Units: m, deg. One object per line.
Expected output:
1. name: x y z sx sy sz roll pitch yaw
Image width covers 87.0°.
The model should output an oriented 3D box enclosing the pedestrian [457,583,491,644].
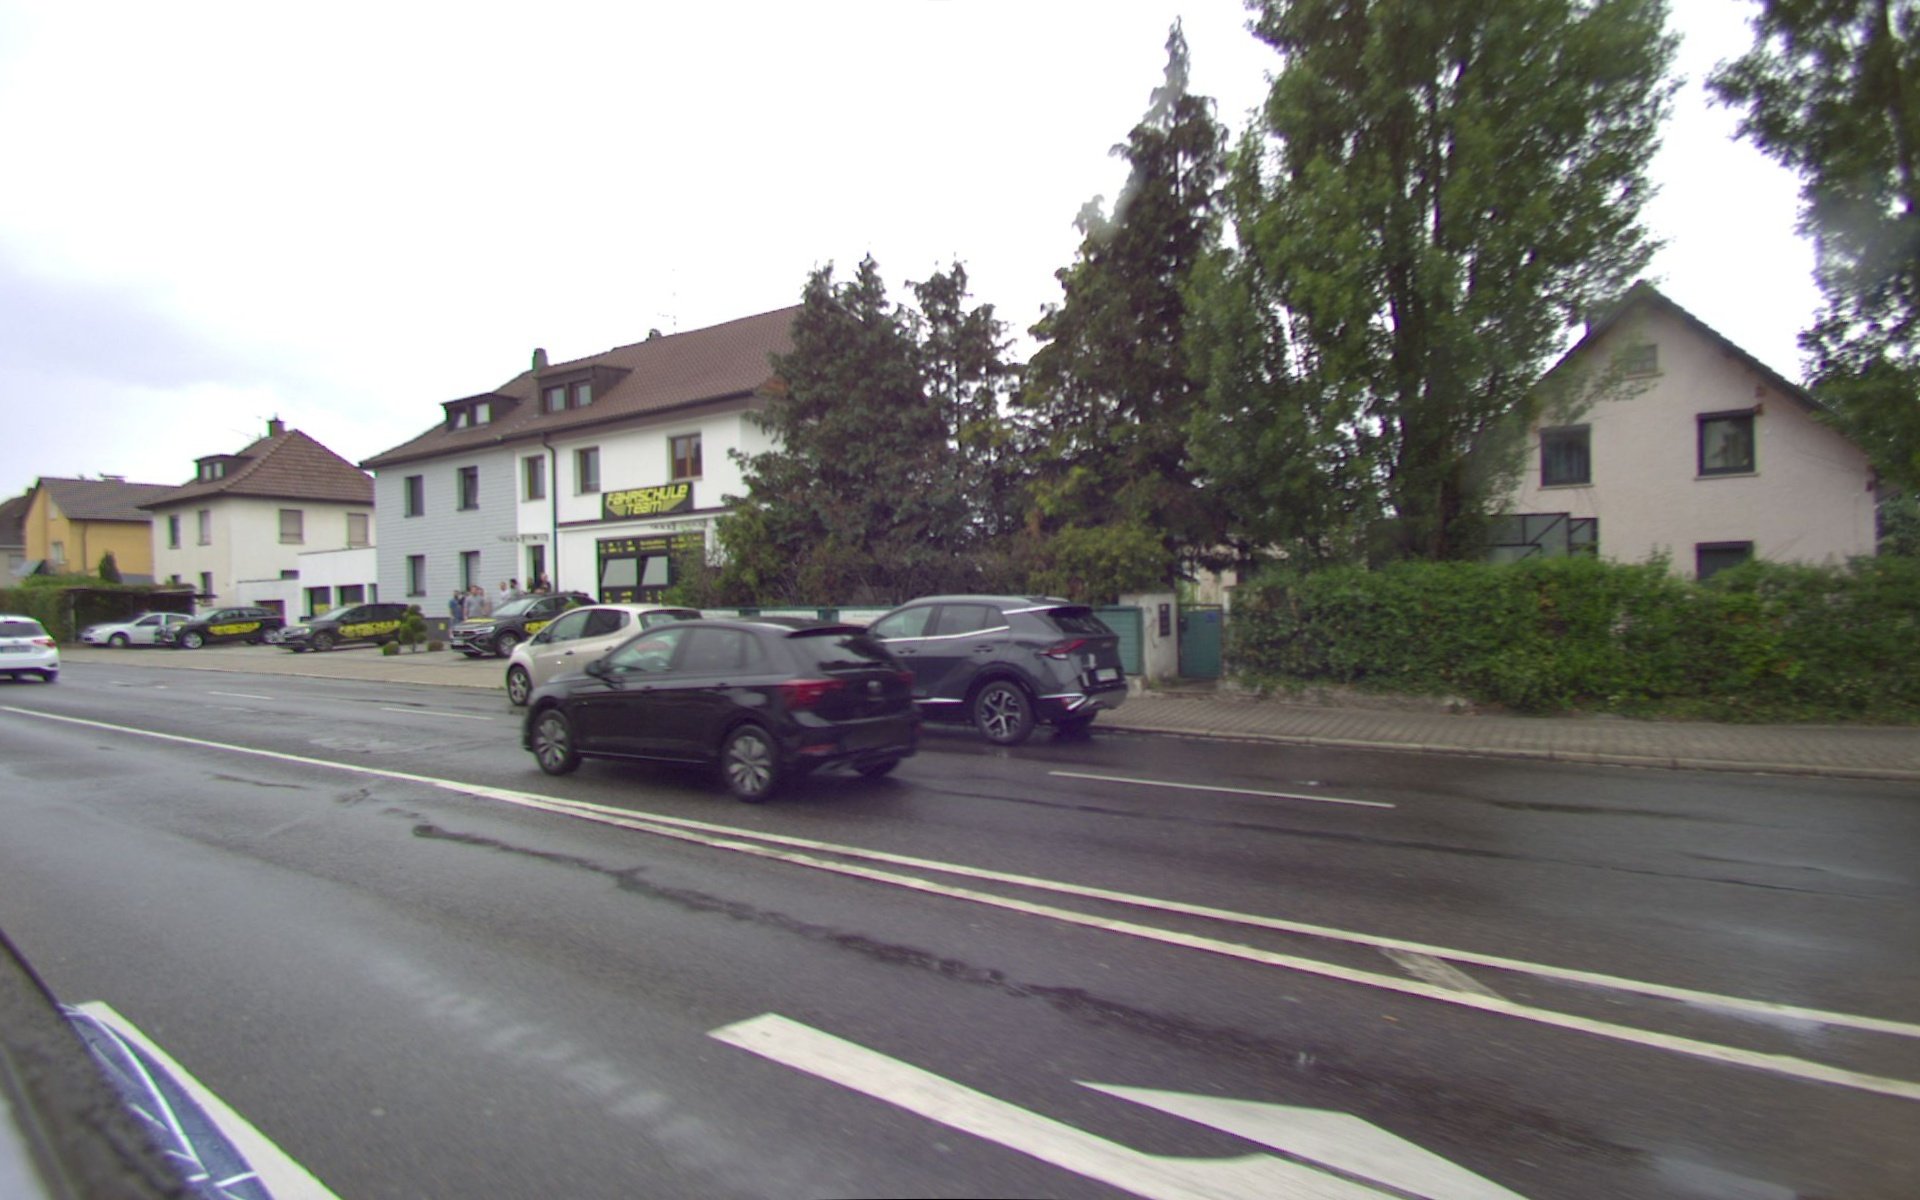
1. pedestrian: -14.670 0.395 30.533 0.539 1.802 0.662 -1 2 38

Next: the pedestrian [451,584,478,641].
1. pedestrian: -15.866 0.401 32.407 0.643 1.800 0.649 -3 0 -32

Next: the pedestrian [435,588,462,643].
1. pedestrian: -16.872 0.515 33.369 0.688 1.766 0.442 -1 2 36

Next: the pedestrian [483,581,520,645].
1. pedestrian: -13.825 0.389 30.528 0.686 1.880 0.725 -1 2 40

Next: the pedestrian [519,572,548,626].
1. pedestrian: -13.660 -0.024 32.386 0.549 1.682 0.568 -1 2 33

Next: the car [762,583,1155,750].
1. car: -0.133 0.687 12.238 4.588 1.682 1.789 0 -1 35

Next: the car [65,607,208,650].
1. car: -33.536 1.221 41.329 1.831 1.495 4.073 -2 -5 27

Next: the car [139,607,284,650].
1. car: -28.349 1.047 38.445 1.880 1.430 4.064 -1 0 35

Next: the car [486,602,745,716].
1. car: -5.492 0.839 15.962 4.133 1.580 1.789 0 -1 35

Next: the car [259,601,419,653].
1. car: -19.999 0.822 32.734 1.880 1.430 3.954 -1 1 35

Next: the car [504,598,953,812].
1. car: -2.163 0.772 9.011 3.991 1.514 1.697 -1 -1 36

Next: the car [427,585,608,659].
1. car: -11.715 0.549 27.017 1.868 1.576 3.954 -2 3 35

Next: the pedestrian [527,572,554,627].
1. pedestrian: -13.062 -0.029 31.503 0.512 1.682 0.511 -1 2 40

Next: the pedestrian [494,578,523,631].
1. pedestrian: -14.502 0.141 32.508 0.574 1.682 0.577 -1 2 33

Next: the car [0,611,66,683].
1. car: -22.042 1.031 22.915 3.991 1.542 1.817 -1 -2 35

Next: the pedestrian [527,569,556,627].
1. pedestrian: -12.593 -0.076 30.452 0.664 1.682 0.693 -3 2 -26
